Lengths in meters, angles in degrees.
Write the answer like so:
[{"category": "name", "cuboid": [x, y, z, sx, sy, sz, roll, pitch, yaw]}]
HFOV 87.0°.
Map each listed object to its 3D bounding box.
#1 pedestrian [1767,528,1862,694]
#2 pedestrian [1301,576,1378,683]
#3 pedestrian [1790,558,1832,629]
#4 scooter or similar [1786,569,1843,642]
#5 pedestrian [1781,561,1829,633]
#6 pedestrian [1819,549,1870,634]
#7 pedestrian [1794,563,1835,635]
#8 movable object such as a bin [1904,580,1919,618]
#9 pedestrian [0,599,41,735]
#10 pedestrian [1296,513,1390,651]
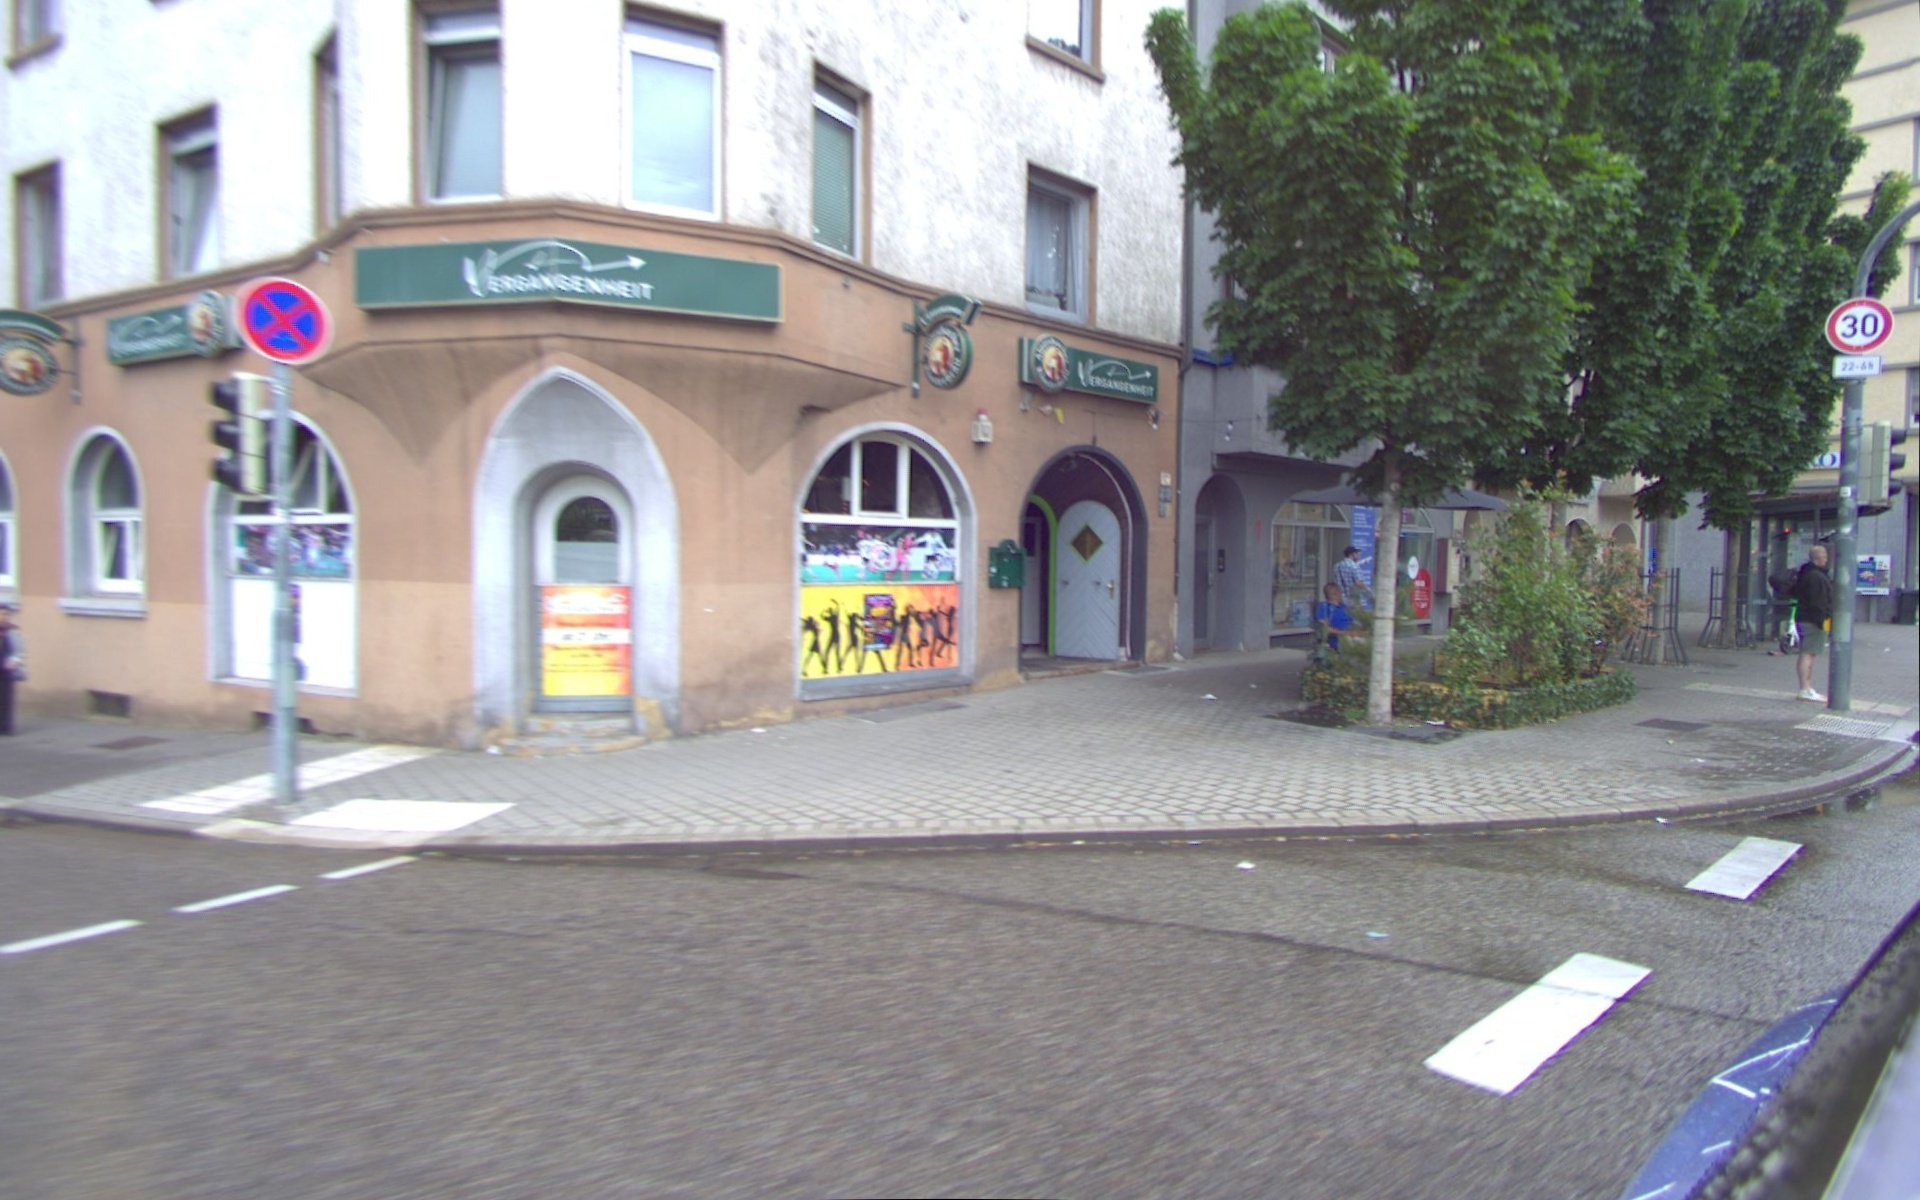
[{"category": "pedestrian", "cuboid": [9.964, 0.101, 11.800, 0.620, 1.863, 0.734, -3, 3, -42]}, {"category": "pedestrian", "cuboid": [4.499, 0.327, 12.007, 0.547, 1.204, 0.666, -3, 3, -42]}, {"category": "pedestrian", "cuboid": [16.867, -0.146, 20.056, 0.586, 1.366, 0.535, -3, 3, -42]}, {"category": "scooter or similar", "cuboid": [14.949, 0.077, 17.698, 1.522, 1.186, 0.512, -3, 4, -41]}, {"category": "pedestrian", "cuboid": [16.334, -0.075, 19.569, 0.614, 1.351, 0.607, -3, 3, -42]}, {"category": "pedestrian", "cuboid": [18.221, -0.195, 20.853, 0.644, 1.720, 0.621, -2, 3, -36]}, {"category": "pedestrian", "cuboid": [17.308, -0.032, 20.503, 0.505, 1.413, 0.564, -3, 3, -43]}, {"category": "movable object such as a bin", "cuboid": [24.450, -0.023, 25.705, 0.692, 0.937, 0.601, -3, 4, -41]}, {"category": "pedestrian", "cuboid": [-10.853, 0.745, 11.308, 0.694, 1.473, 0.623, 1, 3, 28]}, {"category": "pedestrian", "cuboid": [5.910, -0.305, 15.622, 1.180, 2.038, 0.898, -3, 3, -41]}]
